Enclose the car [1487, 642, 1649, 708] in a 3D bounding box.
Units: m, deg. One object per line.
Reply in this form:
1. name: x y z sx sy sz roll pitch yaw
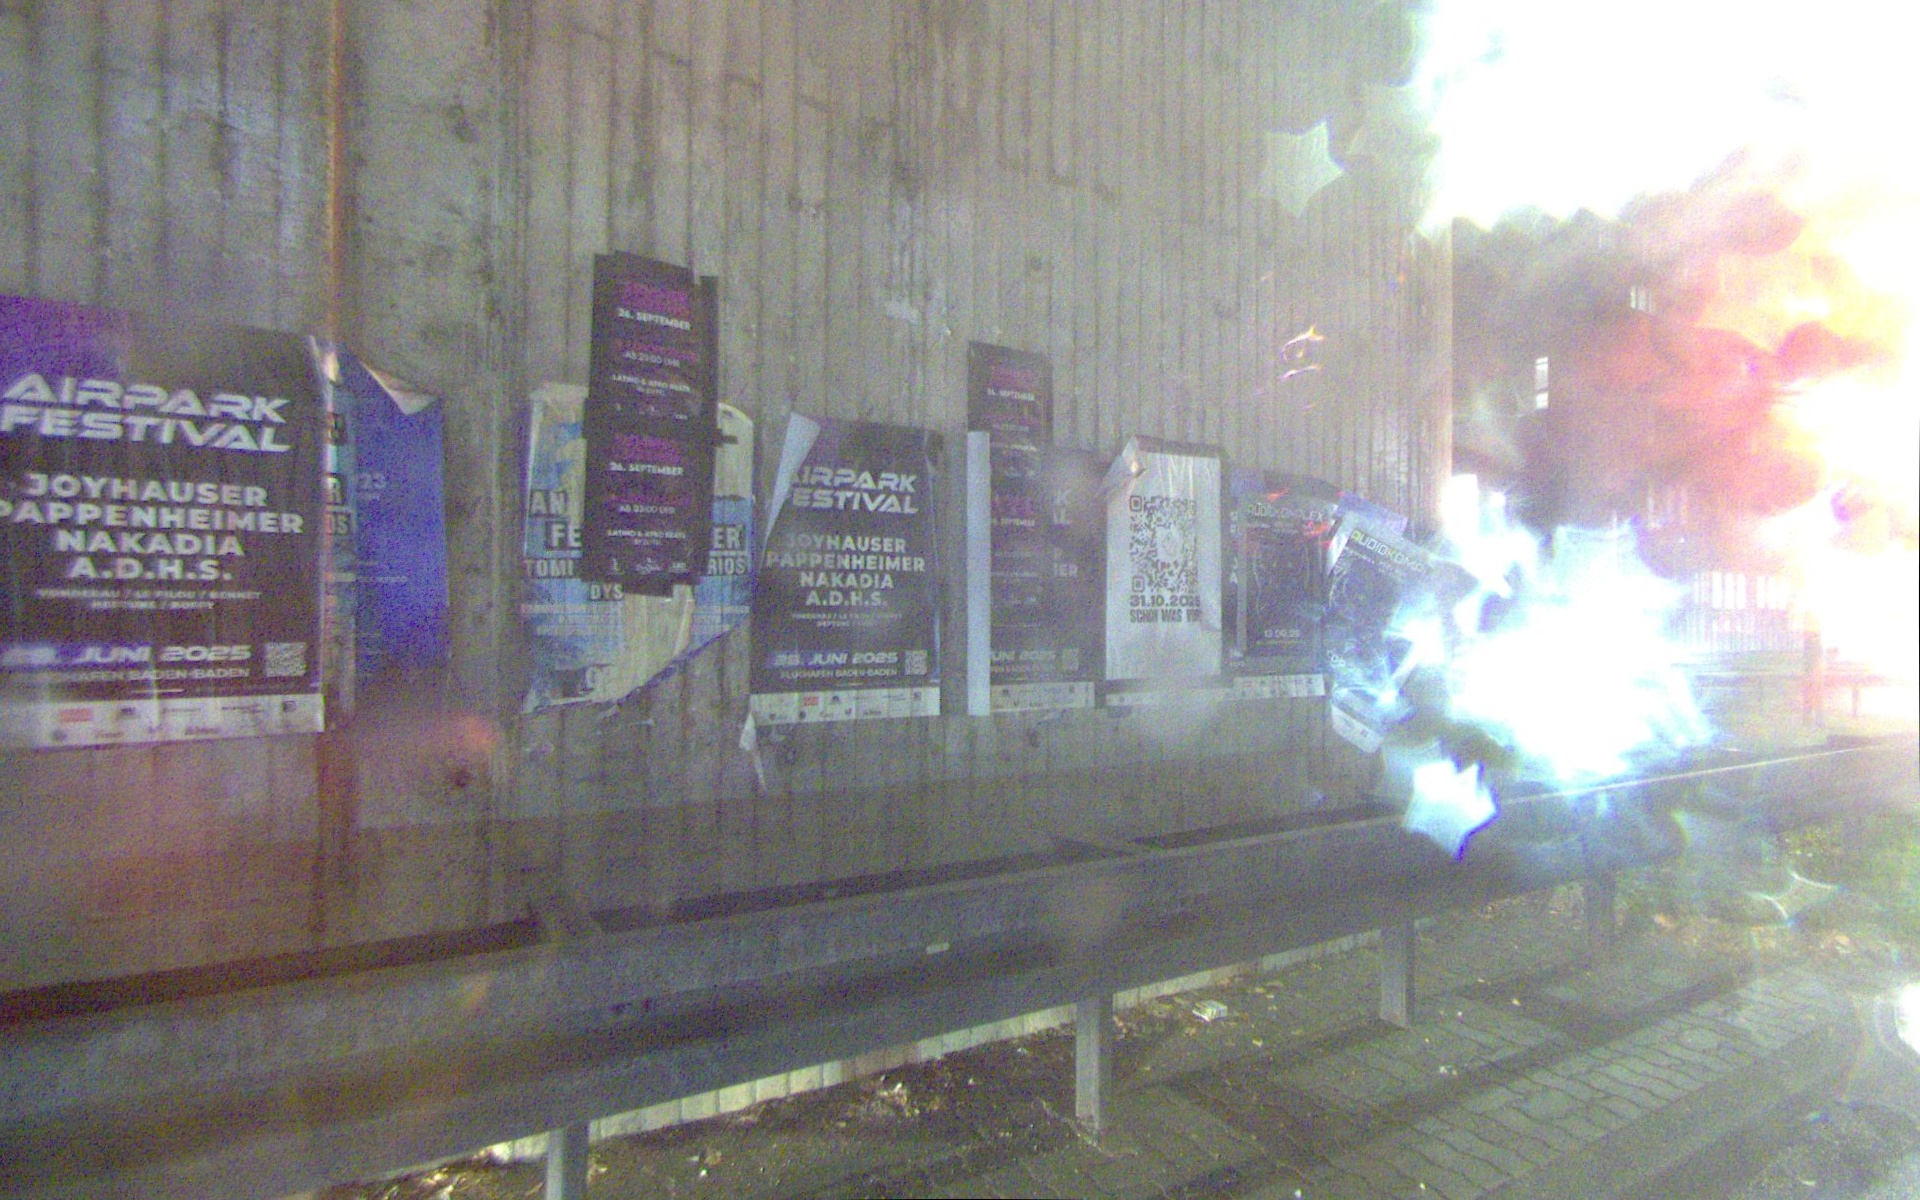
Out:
1. car: 15.308 1.839 25.261 3.953 1.483 1.816 2 -1 -30
